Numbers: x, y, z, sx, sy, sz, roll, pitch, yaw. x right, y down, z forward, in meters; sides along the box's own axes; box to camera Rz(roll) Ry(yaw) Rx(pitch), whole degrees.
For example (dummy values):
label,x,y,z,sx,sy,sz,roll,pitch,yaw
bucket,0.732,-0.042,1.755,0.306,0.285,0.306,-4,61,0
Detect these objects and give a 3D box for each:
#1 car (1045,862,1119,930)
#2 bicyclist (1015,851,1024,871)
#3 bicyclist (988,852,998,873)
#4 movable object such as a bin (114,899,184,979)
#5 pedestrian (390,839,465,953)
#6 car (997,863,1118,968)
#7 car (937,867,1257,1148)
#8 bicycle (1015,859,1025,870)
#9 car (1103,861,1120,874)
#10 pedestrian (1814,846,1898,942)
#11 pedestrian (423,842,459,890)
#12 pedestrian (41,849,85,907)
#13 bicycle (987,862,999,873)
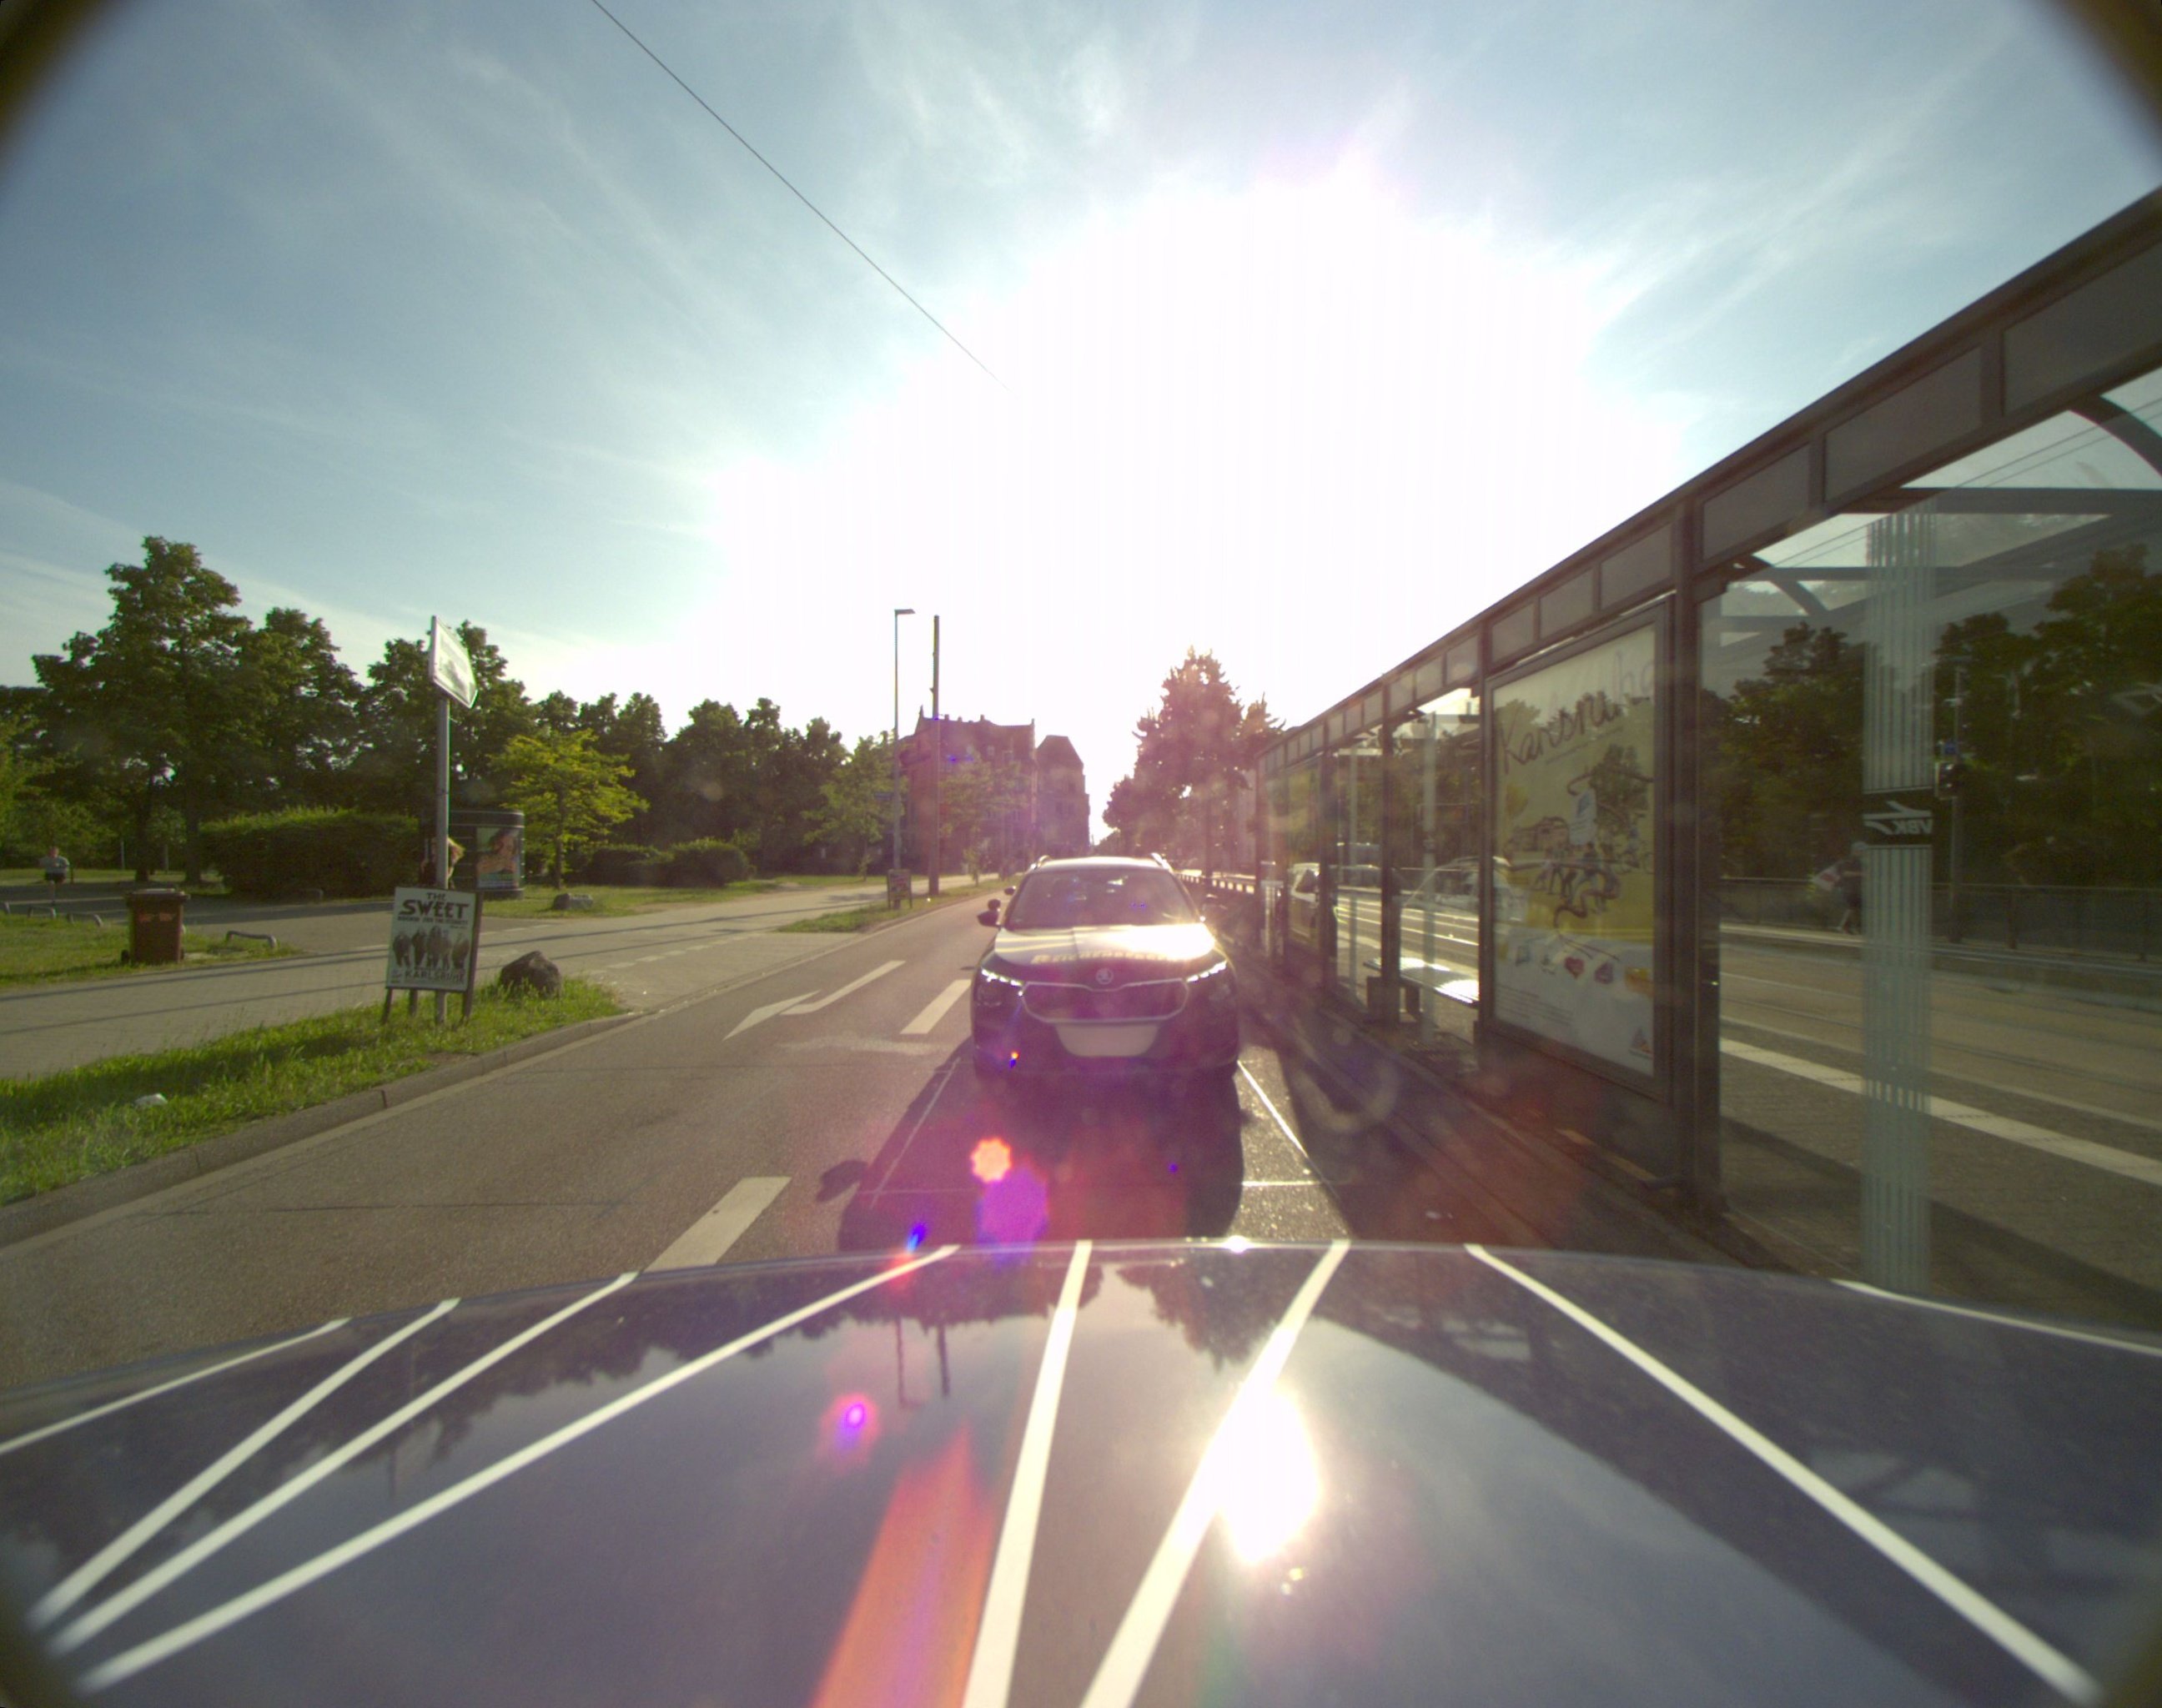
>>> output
label,x,y,z,sx,sy,sz,roll,pitch,yaw
car,0.052,0.969,19.082,1.672,1.496,3.872,0,0,1
bicyclist,-5.441,0.598,67.761,0.730,1.763,1.015,0,0,-1
bicyclist,-7.748,0.746,66.858,0.753,1.763,1.119,0,0,2
movable object such as a bin,-11.343,1.013,9.254,0.502,0.898,0.526,1,1,39
pedestrian,-9.979,0.624,11.623,0.558,1.691,0.662,0,1,0
car,-0.327,0.938,13.237,1.781,1.496,4.000,0,0,1
car,0.111,0.890,6.239,1.781,1.496,4.000,0,0,1
bicycle,-5.438,0.924,67.405,0.740,0.912,2.094,0,0,0
car,4.089,1.787,101.193,1.999,1.674,3.999,0,0,-1
pedestrian,13.359,0.675,13.116,0.736,1.618,0.689,0,0,1
pedestrian,-28.833,0.529,34.242,0.910,2.145,0.891,0,0,13
pedestrian,-29.400,0.681,21.945,0.660,1.641,0.623,0,1,26
bicycle,-7.761,1.190,67.068,0.740,0.912,2.095,0,0,2
